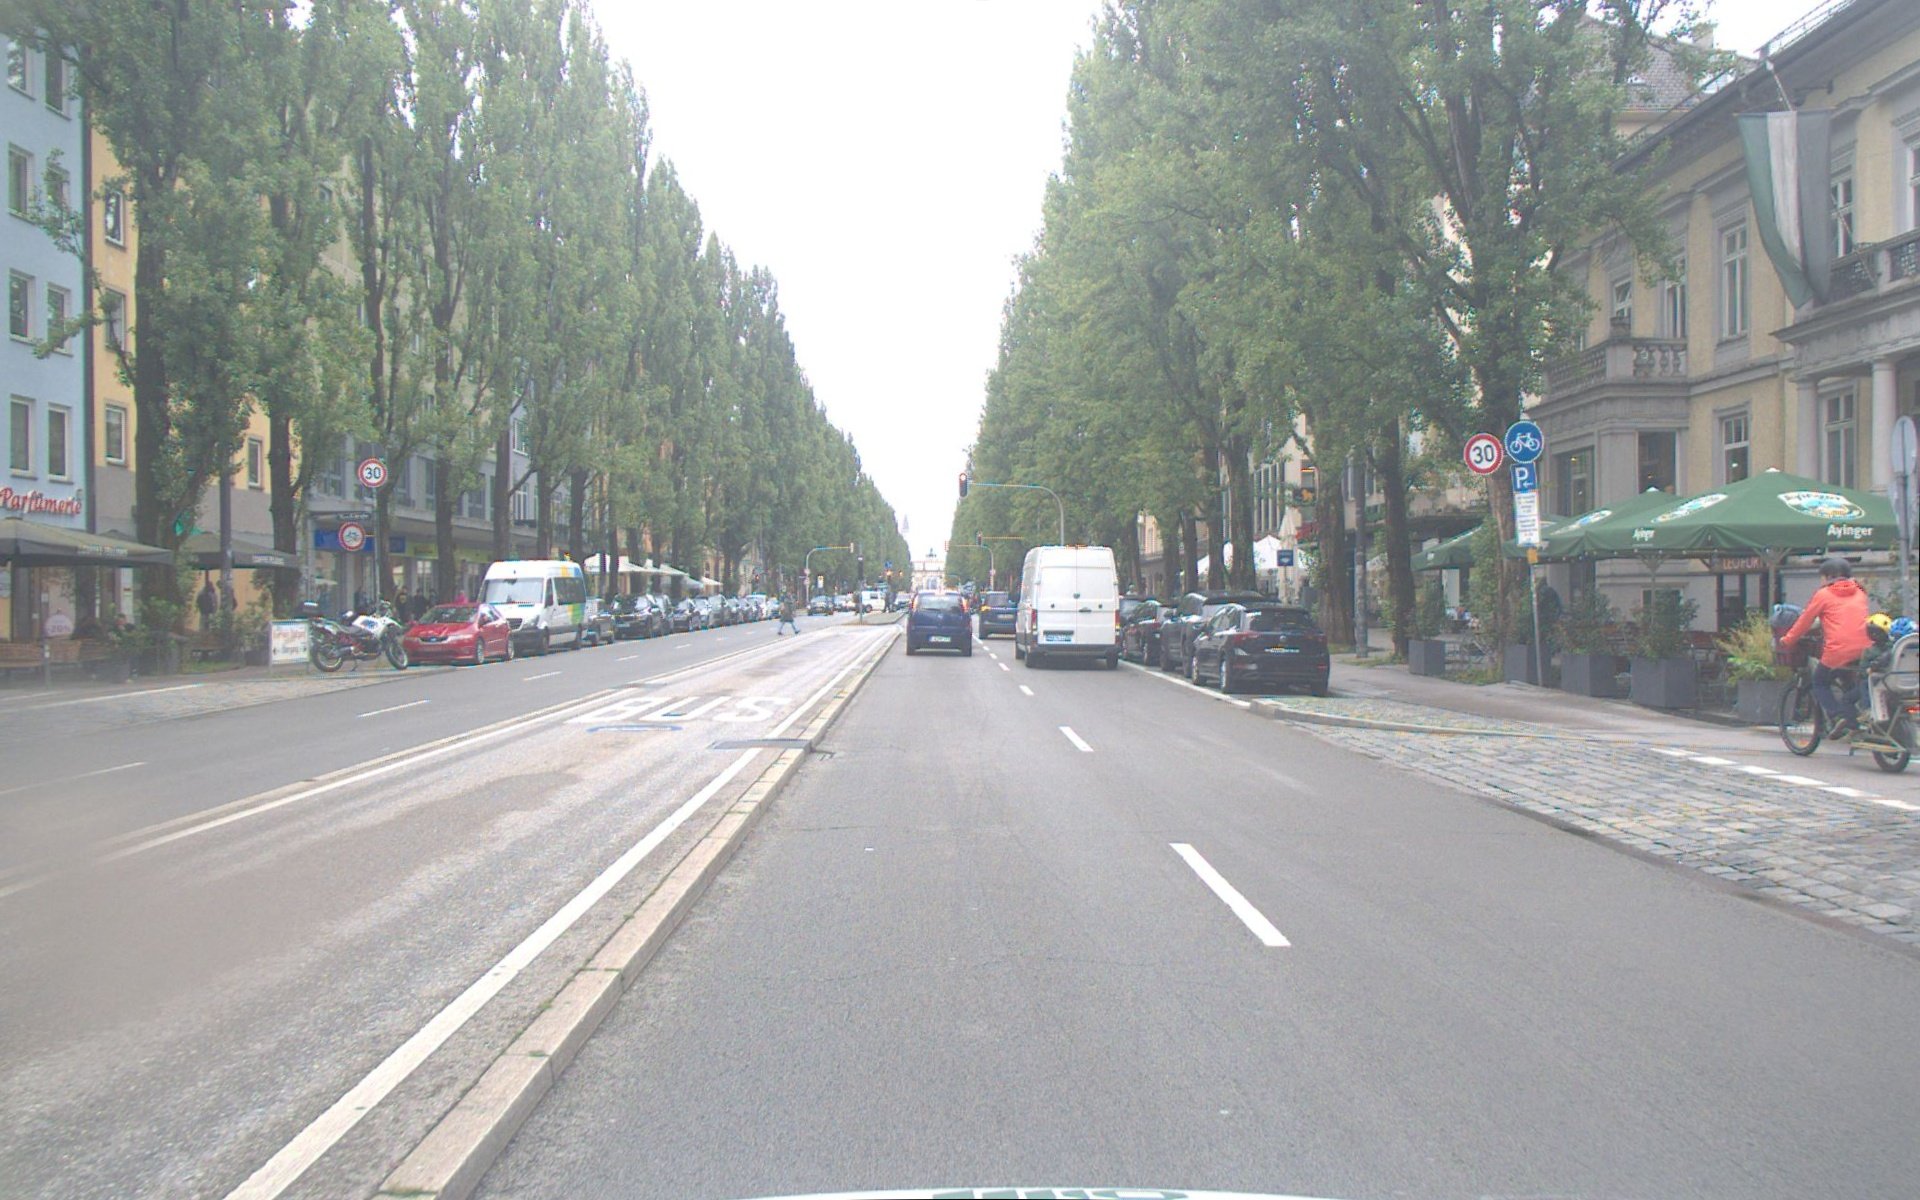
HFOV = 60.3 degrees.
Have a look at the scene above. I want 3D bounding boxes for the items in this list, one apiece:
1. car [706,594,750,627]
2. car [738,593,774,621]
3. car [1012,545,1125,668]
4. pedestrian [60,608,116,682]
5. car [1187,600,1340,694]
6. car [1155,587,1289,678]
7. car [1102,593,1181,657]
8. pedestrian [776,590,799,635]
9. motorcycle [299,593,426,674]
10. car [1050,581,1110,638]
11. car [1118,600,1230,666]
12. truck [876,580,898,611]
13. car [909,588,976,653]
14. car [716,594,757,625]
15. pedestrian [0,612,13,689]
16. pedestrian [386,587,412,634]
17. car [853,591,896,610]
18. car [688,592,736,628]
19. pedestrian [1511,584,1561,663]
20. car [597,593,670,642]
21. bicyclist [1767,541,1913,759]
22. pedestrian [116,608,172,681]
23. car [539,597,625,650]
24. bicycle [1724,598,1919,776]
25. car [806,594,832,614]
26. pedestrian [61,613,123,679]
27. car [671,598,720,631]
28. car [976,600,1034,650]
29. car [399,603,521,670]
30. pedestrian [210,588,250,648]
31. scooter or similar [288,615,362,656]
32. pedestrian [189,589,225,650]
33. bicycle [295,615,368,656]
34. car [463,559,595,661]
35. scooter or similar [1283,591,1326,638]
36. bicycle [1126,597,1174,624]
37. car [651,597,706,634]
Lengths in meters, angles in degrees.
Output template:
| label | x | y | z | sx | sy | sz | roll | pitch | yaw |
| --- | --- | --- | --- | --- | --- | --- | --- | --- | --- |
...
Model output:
| label | x | y | z | sx | sy | sz | roll | pitch | yaw |
| --- | --- | --- | --- | --- | --- | --- | --- | --- | --- |
| car | -12.700 | 0.549 | 90.646 | 1.828 | 1.694 | 4.119 | -2 | 0 | -1 |
| car | -13.063 | 0.418 | 106.225 | 1.828 | 1.694 | 4.119 | -2 | 0 | -1 |
| car | 2.339 | 0.119 | 37.427 | 2.021 | 2.536 | 6.729 | 0 | 0 | -1 |
| pedestrian | -16.701 | 0.852 | 31.699 | 0.699 | 1.386 | 0.699 | -1 | 0 | -3 |
| car | 4.999 | 0.724 | 27.740 | 1.660 | 1.441 | 3.949 | 0 | 0 | -3 |
| car | 5.123 | 0.595 | 32.922 | 1.767 | 1.666 | 4.445 | 1 | 0 | -3 |
| car | 4.581 | 0.616 | 42.028 | 1.560 | 1.544 | 2.728 | 1 | 0 | -3 |
| pedestrian | -6.579 | 0.477 | 63.232 | 0.843 | 1.714 | 0.626 | 0 | 0 | -4 |
| motorcycle | -12.079 | 0.658 | 33.486 | 2.329 | 1.591 | 0.703 | 0 | 0 | -44 |
| car | 4.320 | 0.332 | 60.222 | 1.751 | 1.980 | 4.729 | 0 | 0 | -1 |
| car | 4.867 | 0.727 | 38.152 | 1.676 | 1.418 | 4.339 | 0 | 0 | -5 |
| truck | -8.387 | -0.511 | 189.927 | 2.334 | 3.405 | 7.109 | -1 | 0 | -1 |
| car | -0.465 | 0.489 | 42.559 | 1.637 | 1.596 | 3.999 | 0 | 0 | -1 |
| car | -12.890 | 0.522 | 95.441 | 1.828 | 1.694 | 4.119 | -2 | 0 | -1 |
| pedestrian | -17.663 | 0.925 | 29.798 | 0.683 | 1.386 | 0.819 | -1 | 0 | 2 |
| pedestrian | -20.907 | 0.394 | 61.622 | 0.683 | 1.729 | 0.727 | -1 | 0 | 3 |
| car | -7.349 | 0.073 | 142.650 | 3.311 | 1.588 | 1.727 | -1 | 0 | -25 |
| car | -12.551 | 0.498 | 83.972 | 1.828 | 1.694 | 4.399 | -2 | 0 | -1 |
| pedestrian | 12.662 | 0.505 | 36.392 | 0.781 | 1.707 | 0.877 | 0 | 0 | -1 |
| car | -12.213 | 0.634 | 62.089 | 1.828 | 1.693 | 4.610 | -2 | 0 | -1 |
| bicyclist | 7.501 | 0.411 | 14.135 | 0.752 | 1.797 | 0.885 | 0 | 0 | -2 |
| pedestrian | -15.987 | 0.858 | 32.424 | 0.683 | 1.386 | 0.848 | -1 | 0 | -2 |
| car | -12.270 | 0.731 | 53.946 | 1.828 | 1.579 | 4.413 | -2 | 0 | -1 |
| bicycle | 7.501 | 0.678 | 14.127 | 0.757 | 1.372 | 2.448 | 0 | 0 | -2 |
| car | -11.052 | 0.317 | 129.593 | 1.663 | 1.488 | 4.711 | -2 | 0 | -1 |
| pedestrian | -16.303 | 0.861 | 31.073 | 0.799 | 1.203 | 0.699 | -1 | 0 | -3 |
| car | -12.508 | 0.645 | 78.498 | 1.698 | 1.450 | 4.142 | -2 | 0 | -1 |
| car | 1.525 | 0.837 | 57.833 | 1.858 | 1.650 | 3.999 | 0 | 0 | -1 |
| car | -11.986 | 0.847 | 39.898 | 1.702 | 1.444 | 4.147 | -2 | 0 | -1 |
| pedestrian | -20.335 | 0.494 | 46.092 | 0.683 | 1.664 | 0.727 | -1 | 0 | 23 |
| scooter or similar | -16.595 | 0.928 | 43.257 | 1.738 | 1.044 | 0.421 | -1 | 0 | -4 |
| pedestrian | -20.765 | 0.538 | 45.618 | 0.683 | 1.664 | 0.564 | -1 | 0 | 23 |
| bicycle | -16.657 | 0.931 | 43.862 | 1.738 | 1.044 | 0.421 | -1 | 0 | -4 |
| car | -12.072 | 0.246 | 46.852 | 1.965 | 2.612 | 6.910 | -2 | 0 | -1 |
| scooter or similar | 10.755 | 0.433 | 51.725 | 0.624 | 1.400 | 2.493 | -2 | 1 | -5 |
| bicycle | 8.991 | 0.481 | 78.395 | 2.182 | 1.225 | 0.626 | -1 | 0 | -3 |
| car | -12.440 | 0.657 | 73.303 | 1.762 | 1.515 | 4.349 | -2 | 0 | -1 |
